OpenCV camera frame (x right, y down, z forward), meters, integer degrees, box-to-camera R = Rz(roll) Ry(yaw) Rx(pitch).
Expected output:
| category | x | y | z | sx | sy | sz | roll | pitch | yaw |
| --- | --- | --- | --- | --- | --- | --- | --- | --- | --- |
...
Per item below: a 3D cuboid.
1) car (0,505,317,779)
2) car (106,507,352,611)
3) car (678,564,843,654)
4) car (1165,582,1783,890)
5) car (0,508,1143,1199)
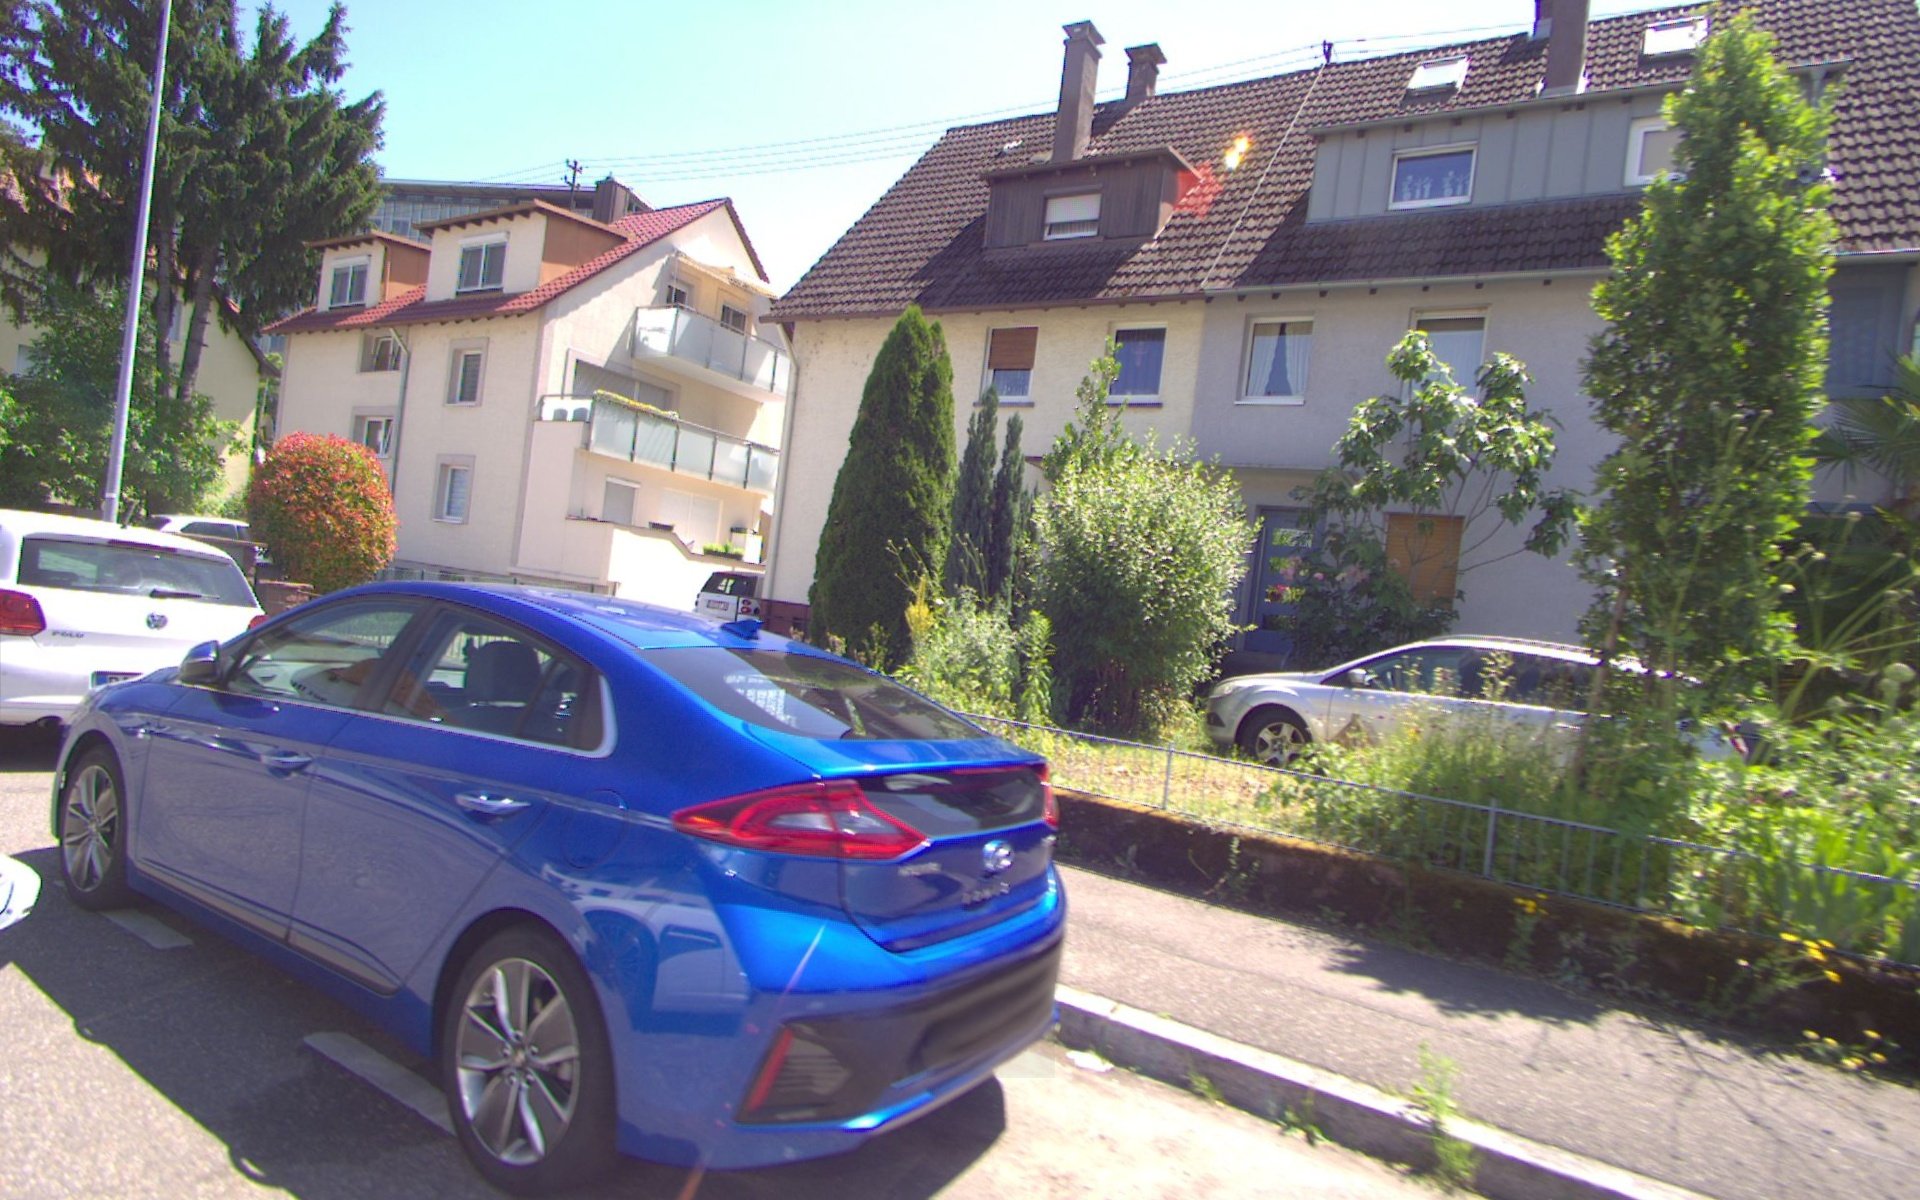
| category | x | y | z | sx | sy | sz | roll | pitch | yaw |
| --- | --- | --- | --- | --- | --- | --- | --- | --- | --- |
| car | -6.390 | 0.129 | 6.991 | 3.677 | 1.472 | 1.688 | 7 | -2 | 32 |
| car | -14.788 | -0.790 | 20.510 | 1.752 | 1.547 | 3.619 | 5 | -3 | 38 |
| car | -4.044 | 0.222 | 20.780 | 1.543 | 1.572 | 3.151 | 7 | 1 | 29 |
| car | 4.439 | 1.045 | 9.256 | 4.455 | 1.872 | 1.920 | 6 | -1 | 31 |
| car | -1.709 | 0.625 | 3.819 | 4.290 | 1.470 | 1.688 | 6 | -2 | 32 |
